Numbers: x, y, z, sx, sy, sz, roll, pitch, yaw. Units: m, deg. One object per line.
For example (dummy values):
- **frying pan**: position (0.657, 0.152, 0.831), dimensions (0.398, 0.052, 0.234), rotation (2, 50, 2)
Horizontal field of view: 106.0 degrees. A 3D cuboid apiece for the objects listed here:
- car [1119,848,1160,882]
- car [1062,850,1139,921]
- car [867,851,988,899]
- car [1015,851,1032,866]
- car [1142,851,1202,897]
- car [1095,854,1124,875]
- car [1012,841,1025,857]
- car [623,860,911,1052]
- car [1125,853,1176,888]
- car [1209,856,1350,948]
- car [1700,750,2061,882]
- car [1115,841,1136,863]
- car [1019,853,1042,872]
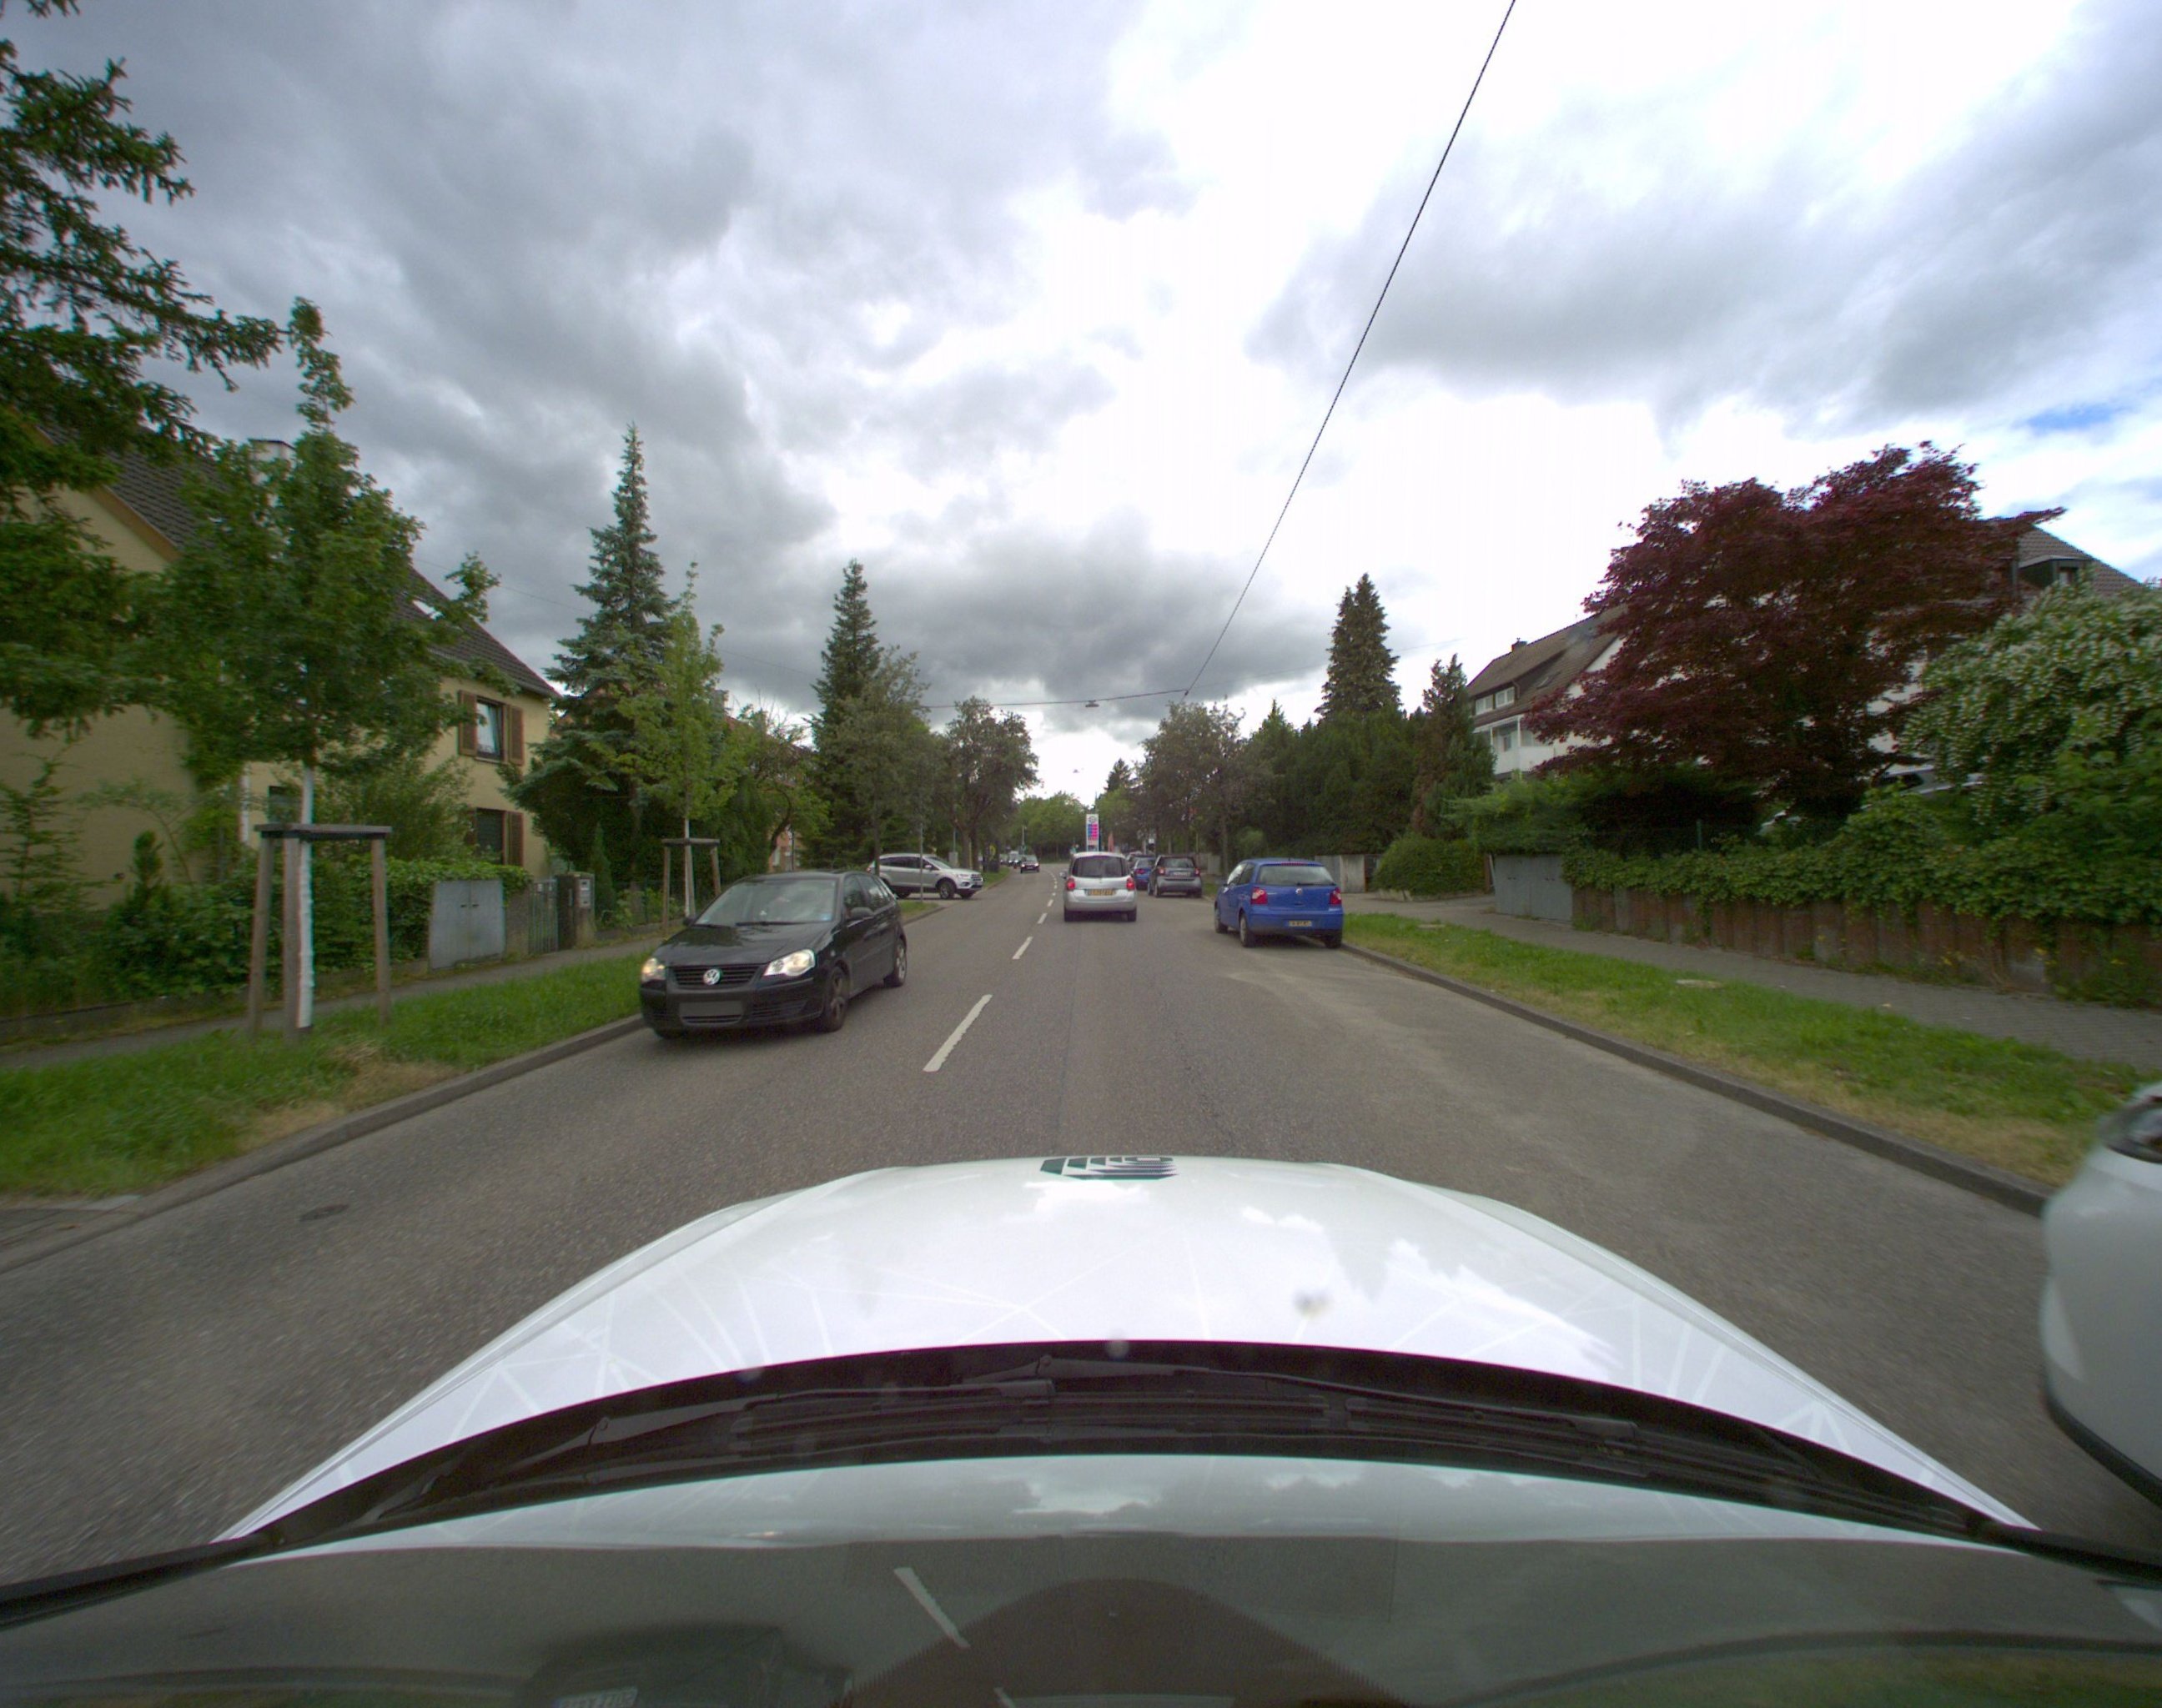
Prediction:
- **car**: position (2.889, 0.516, 40.900), dimensions (1.690, 1.570, 3.954), rotation (-1, 0, -1)
- **car**: position (0.455, 0.685, 19.494), dimensions (1.673, 1.560, 3.512), rotation (0, 0, 1)
- **car**: position (-5.745, 0.784, 30.569), dimensions (4.055, 1.706, 1.755), rotation (-1, 0, 16)
- **car**: position (-6.590, 0.466, 93.334), dimensions (1.789, 1.555, 3.667), rotation (-3, 0, -3)
- **car**: position (3.330, 0.697, 30.399), dimensions (1.690, 1.557, 3.954), rotation (2, 0, -1)
- **car**: position (2.127, 0.769, 61.544), dimensions (1.692, 1.506, 3.966), rotation (-1, 0, -5)
- **car**: position (-9.939, -0.815, 129.288), dimensions (1.931, 2.408, 3.994), rotation (-1, 0, -4)
- **car**: position (-2.927, 0.844, 8.395), dimensions (1.570, 1.472, 3.470), rotation (-2, 0, 0)
- **car**: position (2.977, 0.682, 35.713), dimensions (1.692, 1.433, 4.336), rotation (-1, 0, -2)
- **car**: position (3.431, 0.757, 14.757), dimensions (1.622, 1.452, 3.875), rotation (0, 0, 0)
- **car**: position (14.227, -0.532, 14.990), dimensions (1.775, 1.679, 4.527), rotation (-5, -5, -5)
- **car**: position (5.779, -0.248, 106.919), dimensions (2.275, 2.911, 5.275), rotation (1, 0, -2)
- **car**: position (-4.383, 0.734, 70.309), dimensions (1.544, 1.470, 3.731), rotation (-2, 0, -9)
